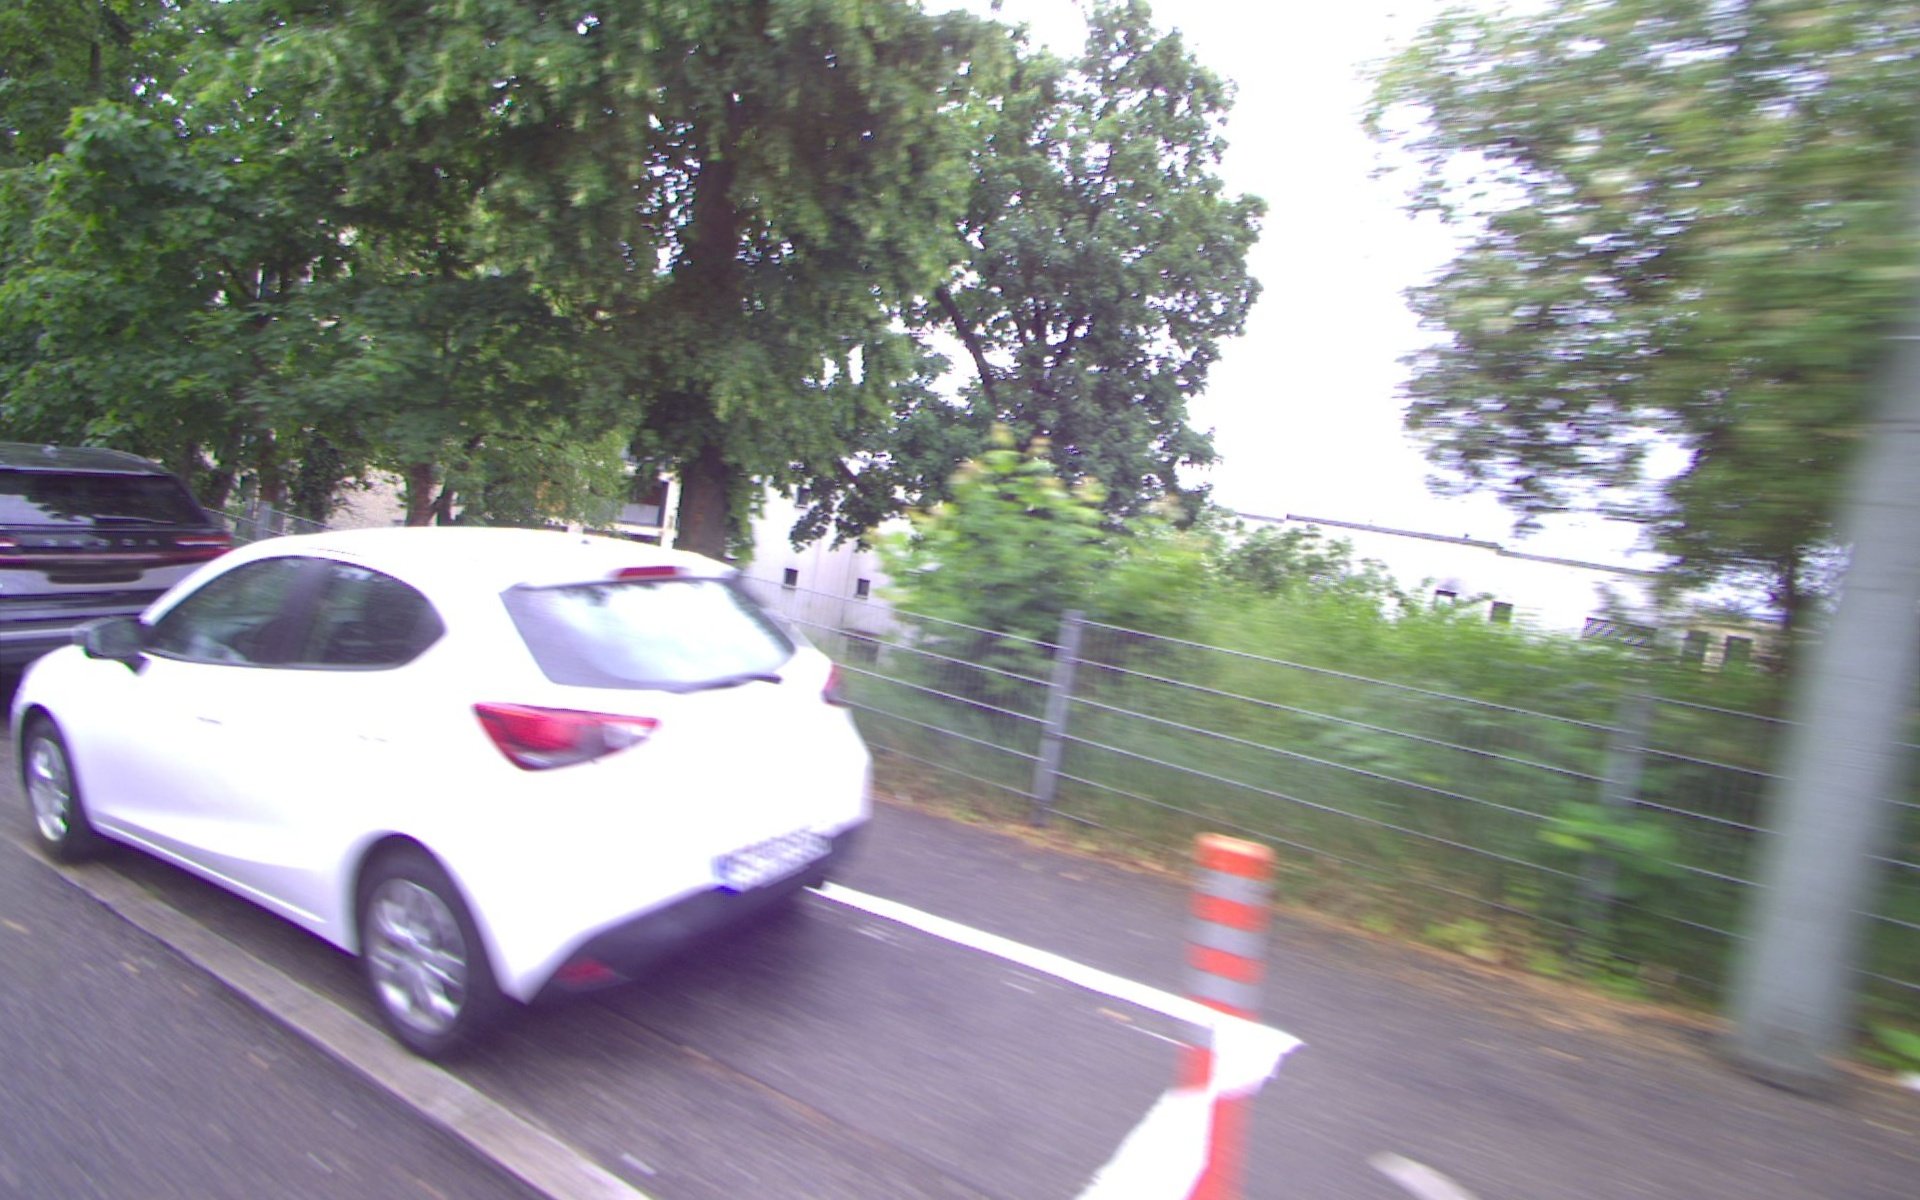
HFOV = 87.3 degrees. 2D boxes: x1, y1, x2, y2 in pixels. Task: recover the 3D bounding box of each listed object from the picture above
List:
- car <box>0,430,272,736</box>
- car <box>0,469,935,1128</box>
[{"bbox_3d":[-7.100,-0.319,7.182,4.724,1.706,1.821,7,3,32],"label":"car"},{"bbox_3d":[-2.281,0.323,4.125,3.932,1.517,1.813,6,5,29],"label":"car"}]
